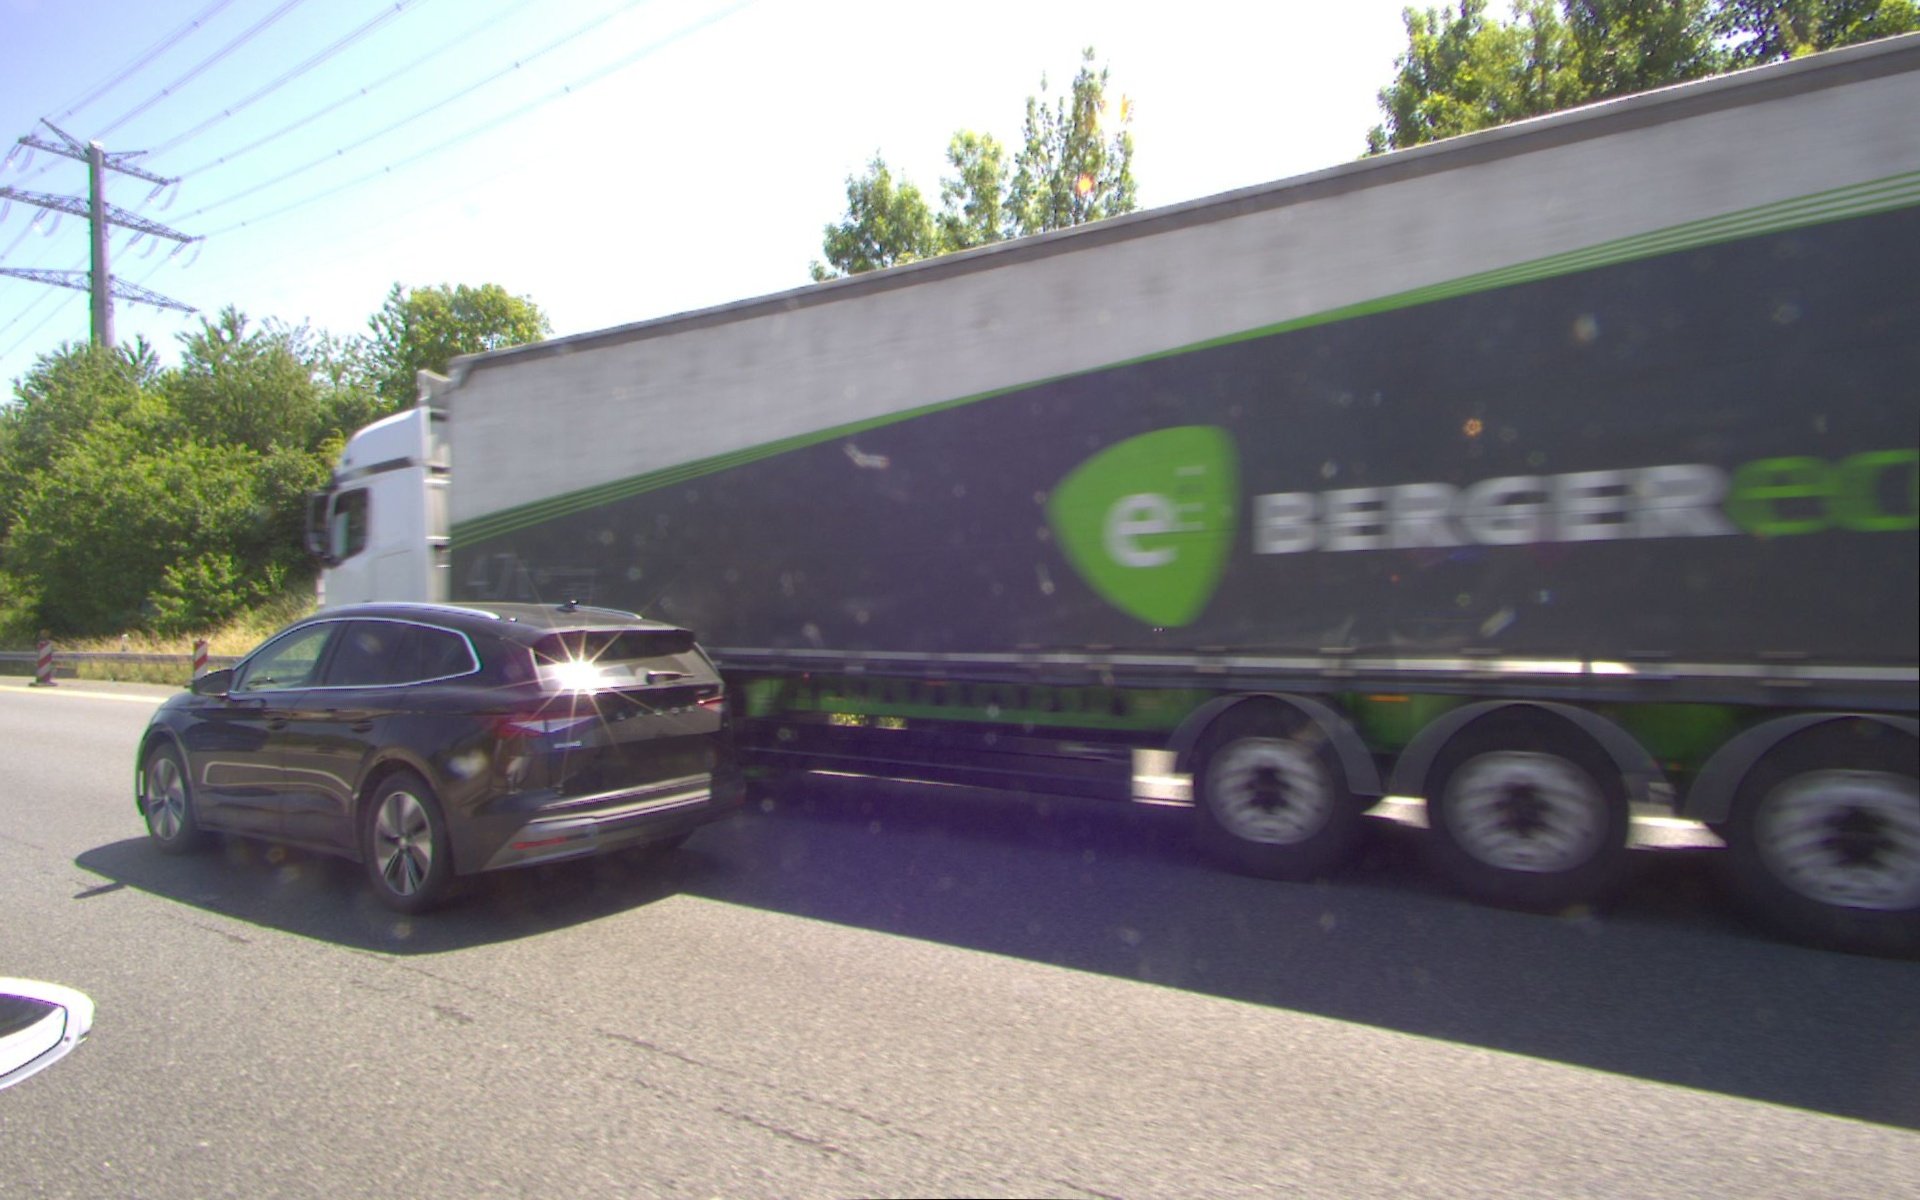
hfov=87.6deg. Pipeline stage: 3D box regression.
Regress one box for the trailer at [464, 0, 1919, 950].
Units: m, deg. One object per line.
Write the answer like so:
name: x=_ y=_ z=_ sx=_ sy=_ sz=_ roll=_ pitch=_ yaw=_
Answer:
trailer: x=1.605 y=-0.572 z=6.945 sx=12.926 sy=4.099 sz=2.778 roll=-1 pitch=-2 yaw=33

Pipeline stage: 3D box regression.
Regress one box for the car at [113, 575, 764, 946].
car: x=-3.468 y=0.795 z=6.407 sx=4.365 sy=1.676 sz=1.698 roll=-1 pitch=-2 yaw=31

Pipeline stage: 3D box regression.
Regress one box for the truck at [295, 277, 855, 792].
truck: x=-4.196 y=-0.431 z=10.669 sx=5.711 sy=4.099 sz=2.728 roll=-1 pitch=-2 yaw=32
